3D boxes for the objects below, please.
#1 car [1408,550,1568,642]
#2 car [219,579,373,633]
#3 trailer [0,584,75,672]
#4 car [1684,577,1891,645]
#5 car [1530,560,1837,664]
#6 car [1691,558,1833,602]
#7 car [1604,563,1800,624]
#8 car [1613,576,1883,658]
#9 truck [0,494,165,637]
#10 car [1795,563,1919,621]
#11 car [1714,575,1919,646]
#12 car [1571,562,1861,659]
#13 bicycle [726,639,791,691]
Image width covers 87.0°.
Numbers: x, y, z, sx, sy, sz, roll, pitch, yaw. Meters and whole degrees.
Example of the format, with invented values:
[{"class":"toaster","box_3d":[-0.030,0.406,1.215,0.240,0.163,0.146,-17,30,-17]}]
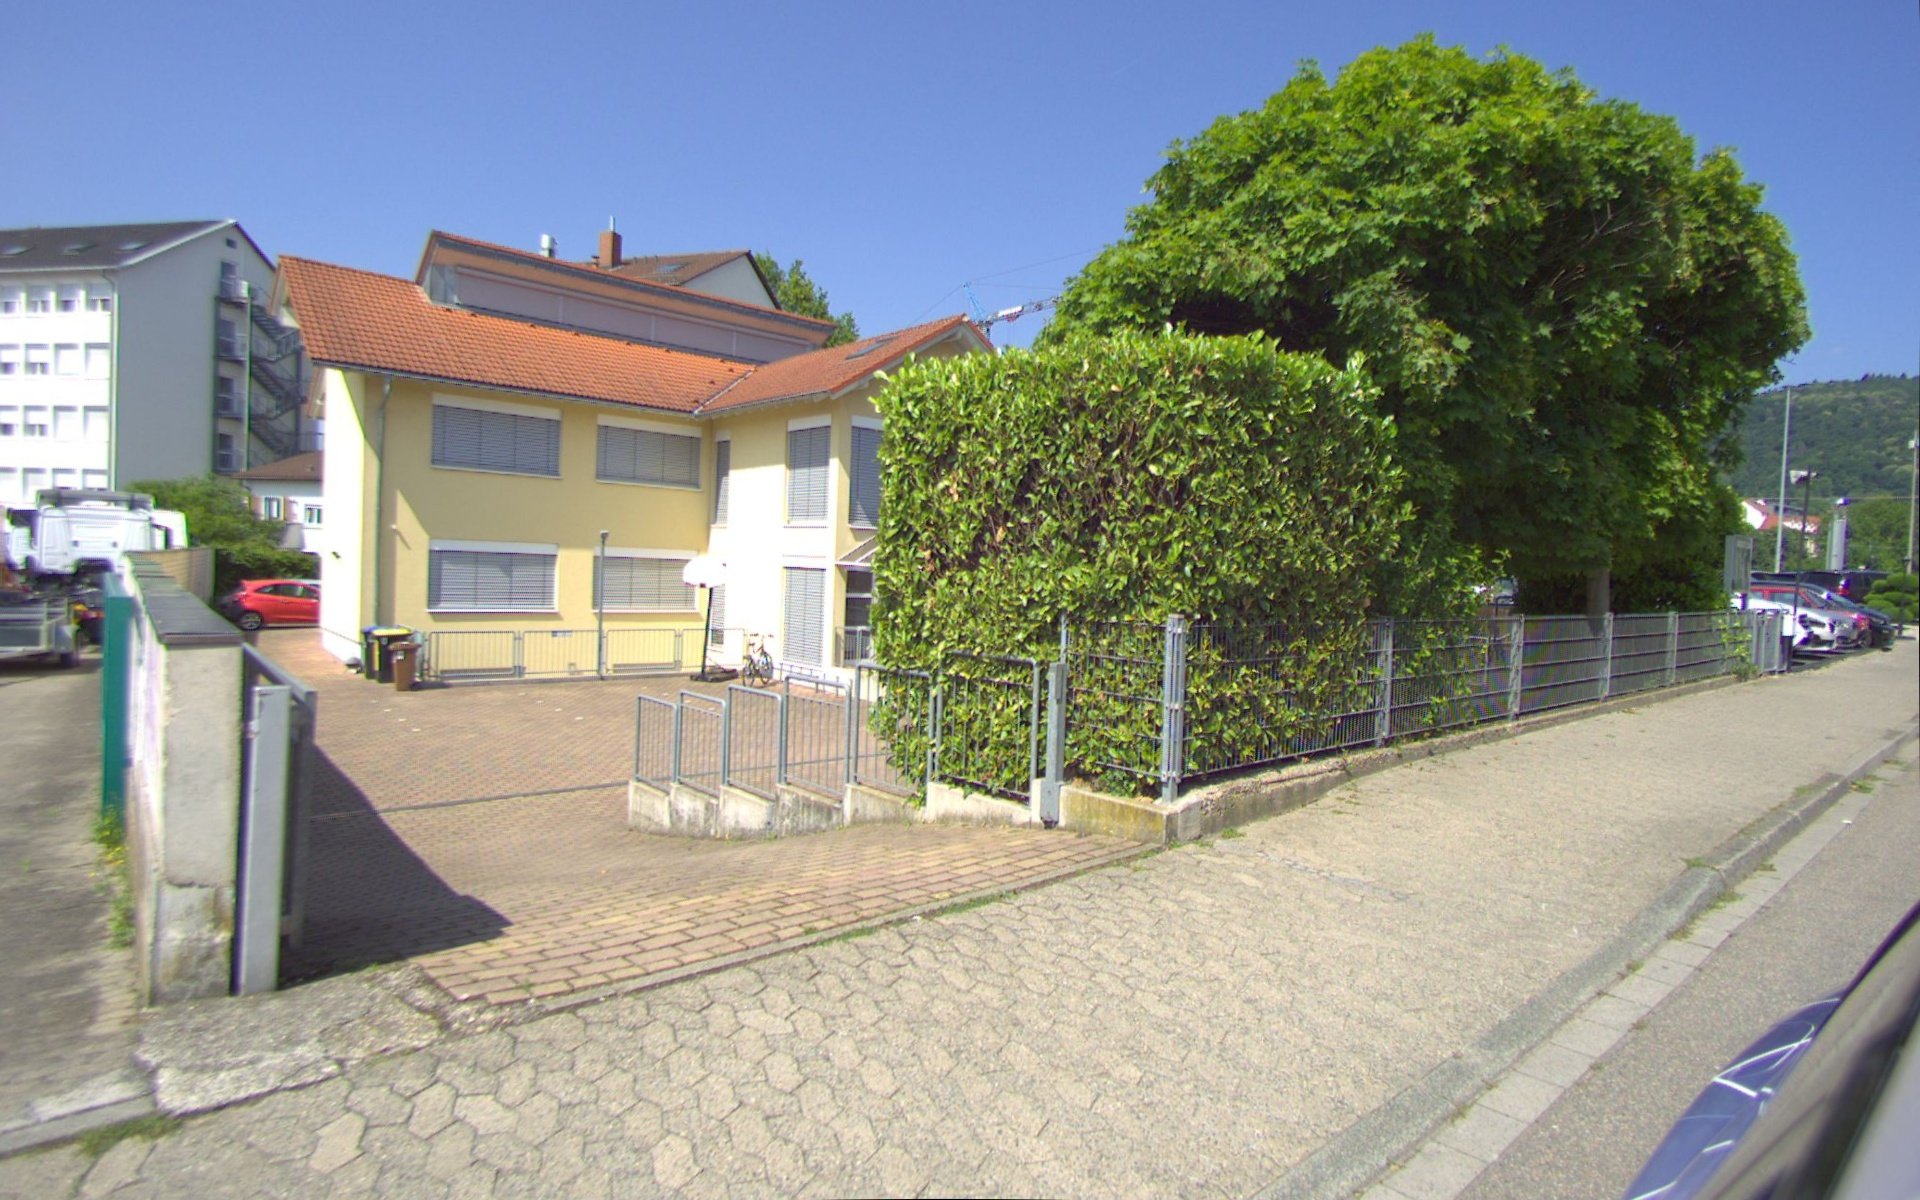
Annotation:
[{"class":"car","box_3d":[11.837,-0.156,22.607,3.724,1.883,1.997,-2,2,-42]},{"class":"car","box_3d":[-20.914,0.169,31.940,3.927,1.595,1.933,0,1,-38]},{"class":"trailer","box_3d":[-16.132,0.414,16.886,1.965,1.330,3.700,0,1,-40]},{"class":"car","box_3d":[19.346,0.201,23.760,1.532,1.351,3.555,-1,3,-42]},{"class":"car","box_3d":[13.423,0.125,18.990,1.813,1.674,4.409,-1,3,-43]},{"class":"car","box_3d":[32.539,-0.821,41.093,4.716,1.713,2.022,0,2,-14]},{"class":"car","box_3d":[24.233,-0.271,33.342,1.884,1.784,5.010,0,2,-17]},{"class":"car","box_3d":[17.217,0.279,22.283,1.864,1.515,4.411,-1,3,-41]},{"class":"truck","box_3d":[-23.137,-0.847,26.216,3.925,3.523,1.864,0,-1,-36]},{"class":"car","box_3d":[30.417,-0.279,33.442,4.205,1.804,1.856,0,3,-5]},{"class":"car","box_3d":[21.477,0.206,25.428,1.729,1.644,3.808,0,1,-42]},{"class":"car","box_3d":[15.253,0.112,20.607,1.865,1.546,4.410,-2,5,-43]},{"class":"bicycle","box_3d":[-4.532,1.443,22.853,0.610,1.005,1.803,3,2,18]}]
